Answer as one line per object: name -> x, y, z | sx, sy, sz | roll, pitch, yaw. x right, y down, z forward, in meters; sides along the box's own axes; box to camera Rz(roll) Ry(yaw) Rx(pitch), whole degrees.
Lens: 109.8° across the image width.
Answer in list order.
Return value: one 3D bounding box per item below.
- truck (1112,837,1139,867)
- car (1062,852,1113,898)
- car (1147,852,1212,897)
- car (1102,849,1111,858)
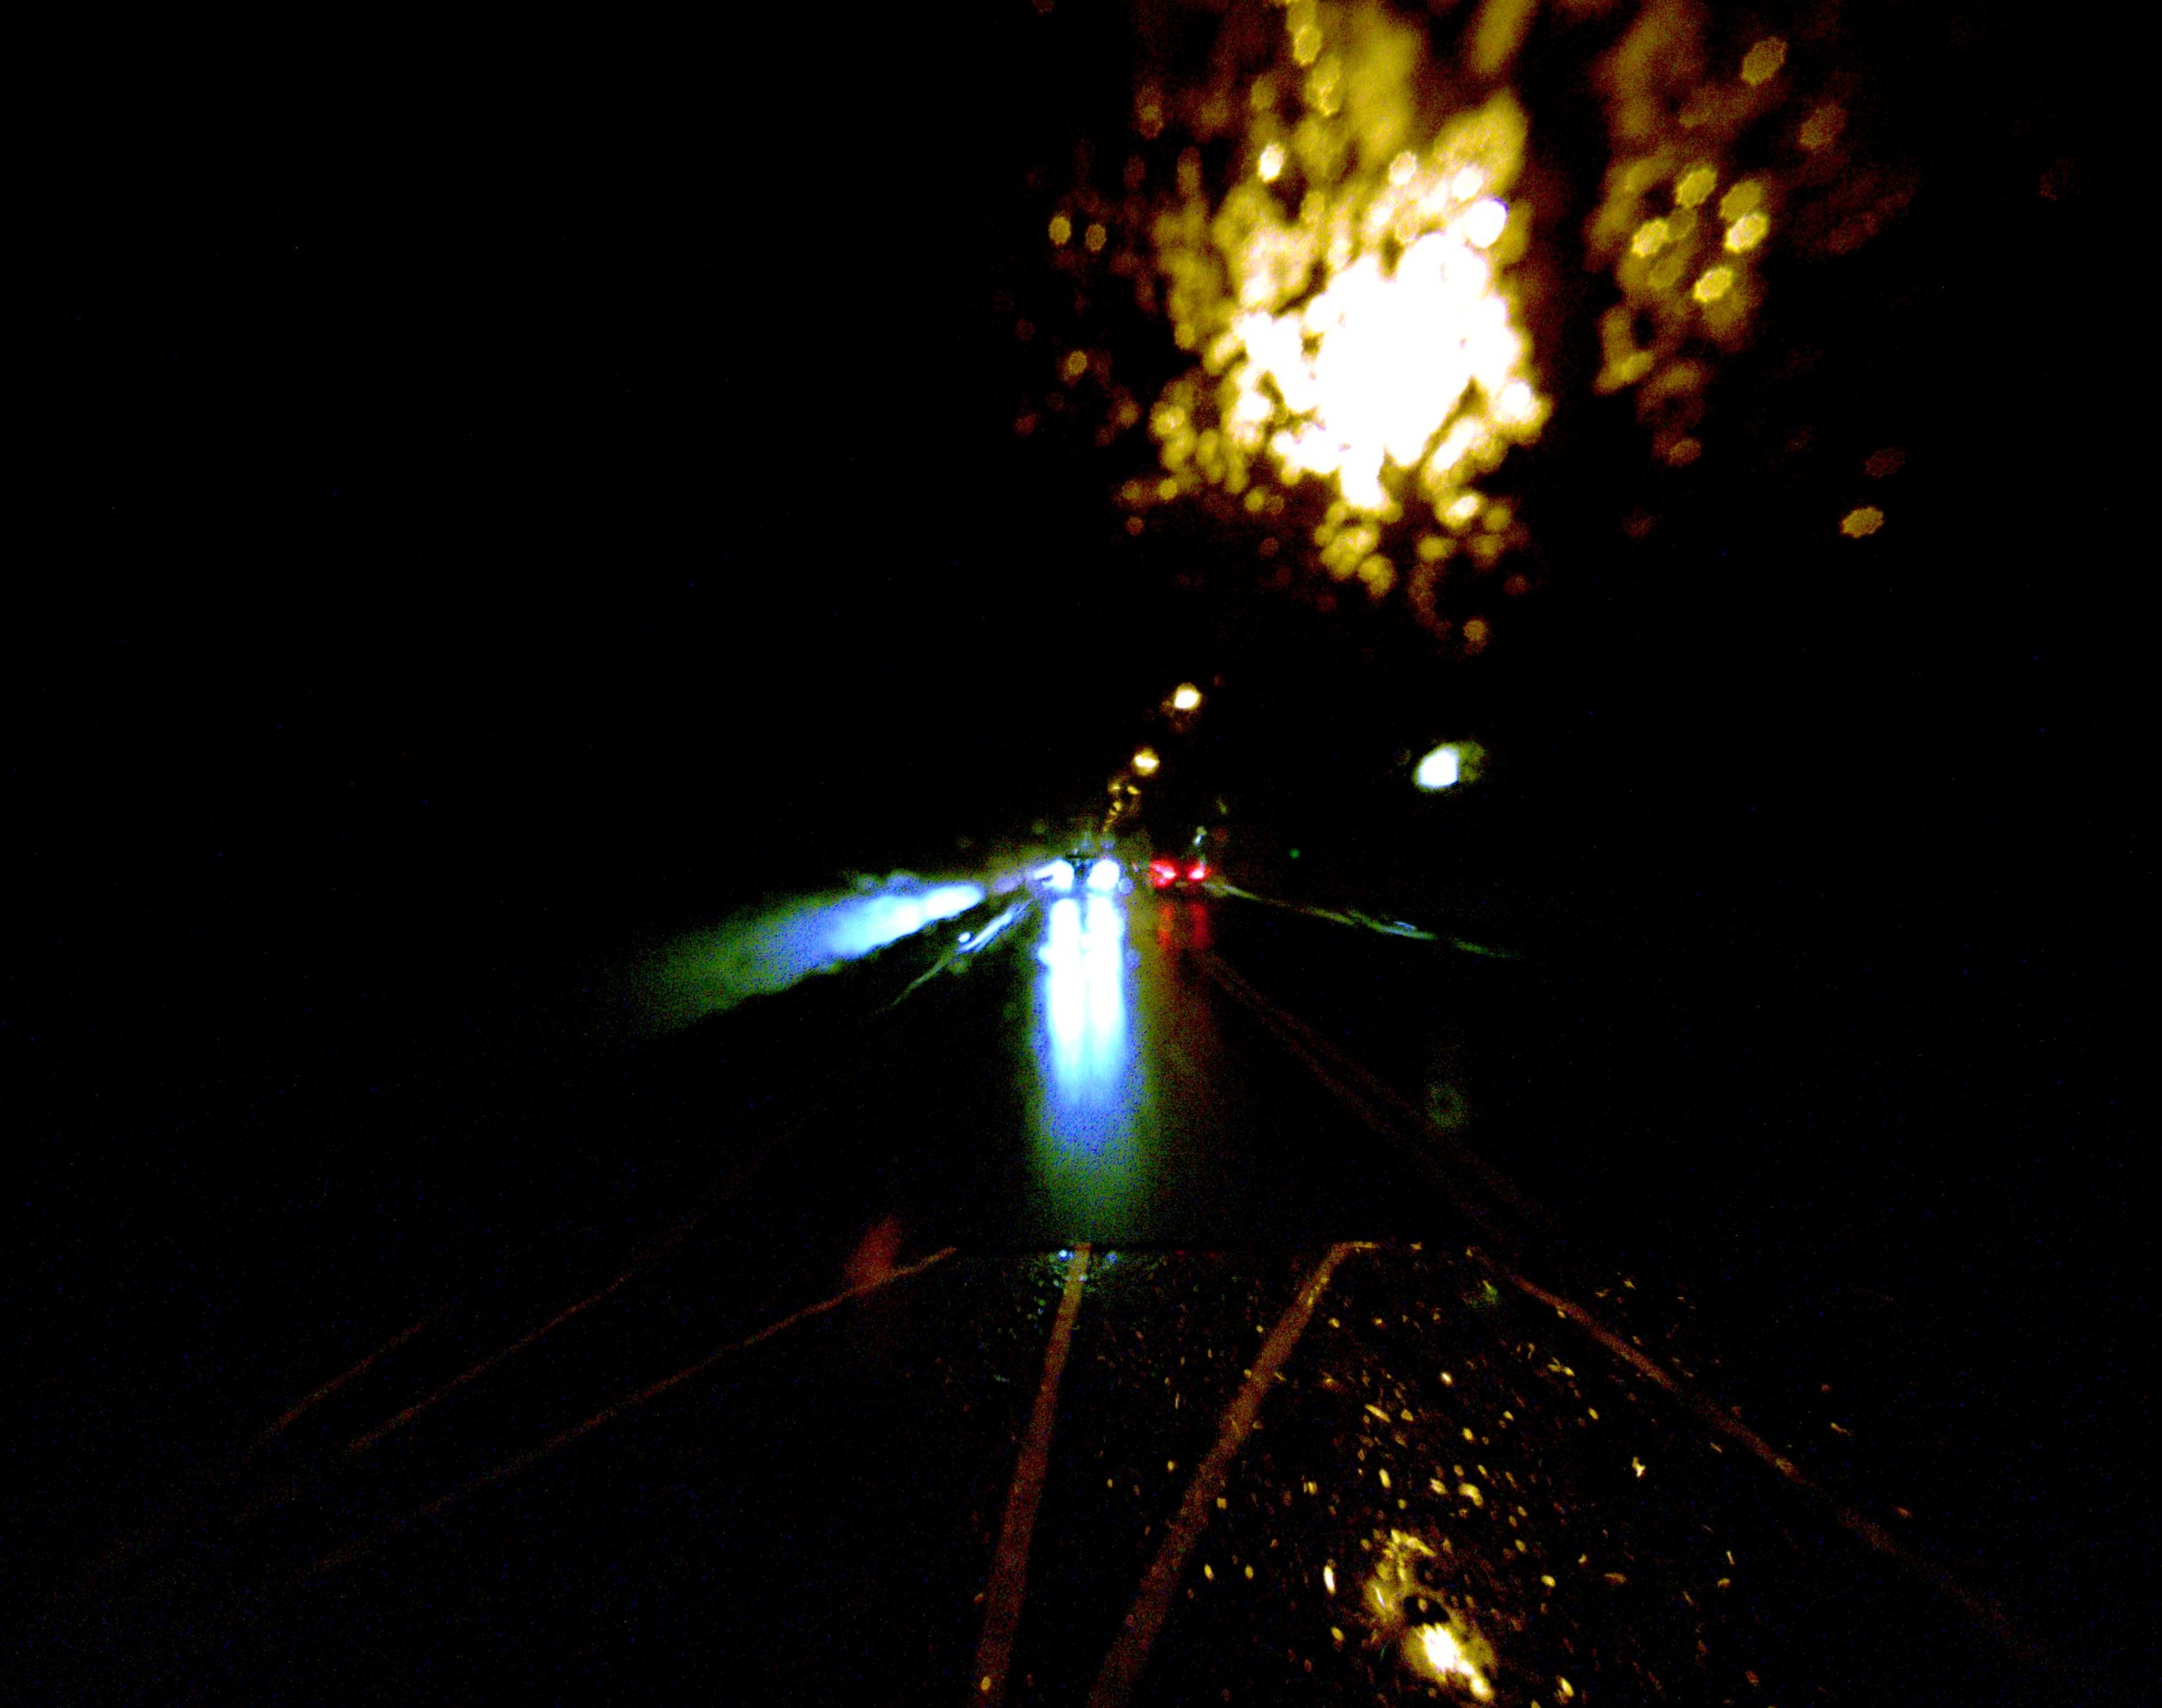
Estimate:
truck -> 4.712, -0.245, 81.503 | 2.285, 2.999, 6.593 | -2, 0, 0
car -> 0.284, 0.765, 29.693 | 1.829, 1.650, 3.929 | -1, 0, 1
car -> 3.527, 0.708, 27.809 | 1.799, 1.474, 3.868 | -2, 0, -1
car -> 5.318, -0.097, 156.401 | 1.733, 1.781, 3.932 | -2, 0, 1
